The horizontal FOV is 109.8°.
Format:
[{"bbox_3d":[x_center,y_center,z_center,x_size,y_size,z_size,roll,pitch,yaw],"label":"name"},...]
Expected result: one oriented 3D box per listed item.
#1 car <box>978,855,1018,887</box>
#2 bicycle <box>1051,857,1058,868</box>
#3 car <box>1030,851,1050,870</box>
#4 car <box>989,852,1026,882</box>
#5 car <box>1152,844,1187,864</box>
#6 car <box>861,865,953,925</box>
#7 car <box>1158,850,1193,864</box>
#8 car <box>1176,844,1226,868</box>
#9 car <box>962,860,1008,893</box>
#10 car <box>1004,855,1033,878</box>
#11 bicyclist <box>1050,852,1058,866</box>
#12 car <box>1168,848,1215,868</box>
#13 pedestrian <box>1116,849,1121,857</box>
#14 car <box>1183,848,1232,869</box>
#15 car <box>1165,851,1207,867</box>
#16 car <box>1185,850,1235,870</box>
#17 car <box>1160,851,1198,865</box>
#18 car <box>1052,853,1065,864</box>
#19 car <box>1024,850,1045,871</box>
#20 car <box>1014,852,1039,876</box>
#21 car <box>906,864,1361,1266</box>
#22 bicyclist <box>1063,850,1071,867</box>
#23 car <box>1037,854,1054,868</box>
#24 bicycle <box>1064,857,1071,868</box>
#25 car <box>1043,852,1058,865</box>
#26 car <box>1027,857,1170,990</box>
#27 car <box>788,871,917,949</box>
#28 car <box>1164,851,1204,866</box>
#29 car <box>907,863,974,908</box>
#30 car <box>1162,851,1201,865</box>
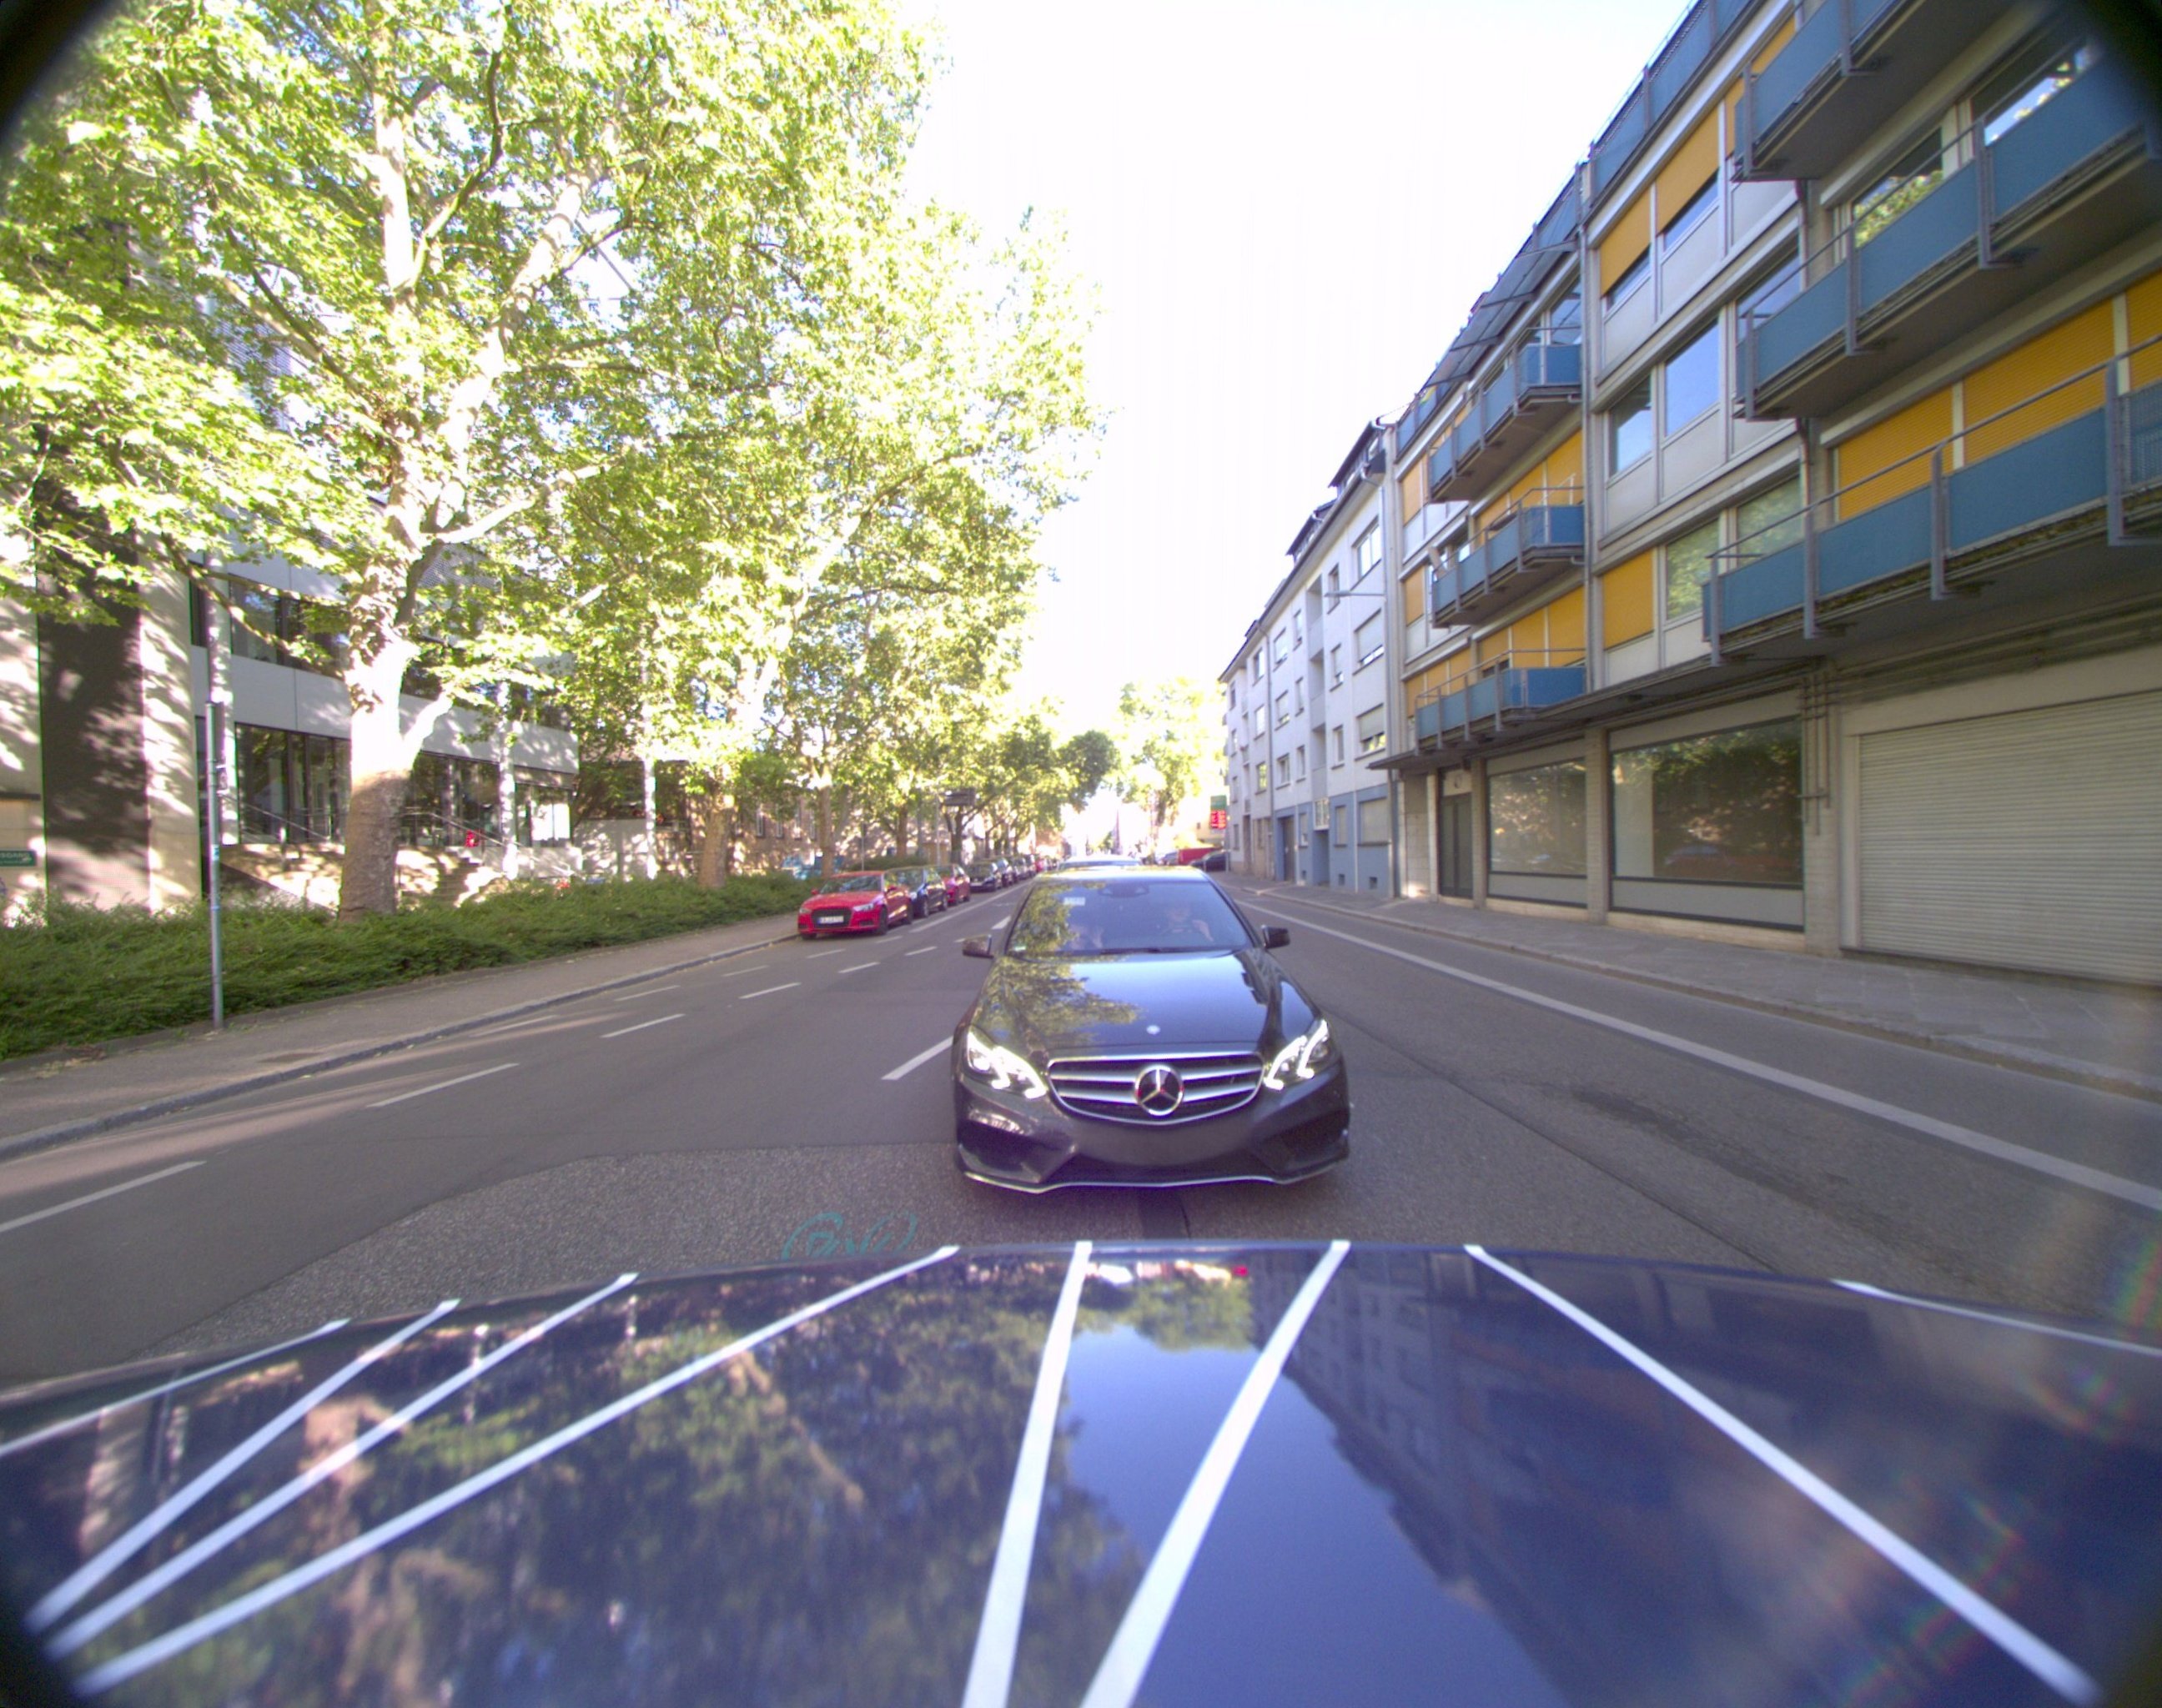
[{"bbox_3d":[-4.537,0.912,42.065,1.686,1.610,3.836,-2,0,0],"label":"car"},{"bbox_3d":[-2.748,0.898,78.986,0.667,1.093,1.814,-2,1,0],"label":"bicycle"},{"bbox_3d":[-4.099,0.641,76.019,1.686,1.749,3.836,-2,0,0],"label":"car"},{"bbox_3d":[-4.594,0.777,48.191,1.819,1.758,4.431,-2,0,0],"label":"car"},{"bbox_3d":[10.400,0.029,89.310,3.905,2.164,1.725,-2,1,2],"label":"car"},{"bbox_3d":[-5.012,1.132,22.420,1.686,1.458,4.000,-3,0,0],"label":"car"},{"bbox_3d":[10.540,0.337,84.817,3.782,1.432,1.539,-2,1,2],"label":"car"},{"bbox_3d":[10.074,0.169,63.981,3.905,1.895,1.749,-2,1,2],"label":"car"},{"bbox_3d":[-4.665,1.052,37.406,1.686,1.443,4.000,-2,0,0],"label":"car"},{"bbox_3d":[-4.426,0.880,54.514,1.686,1.552,3.868,-2,0,0],"label":"car"},{"bbox_3d":[-2.797,0.515,78.975,0.756,1.512,0.768,-2,1,-1],"label":"bicyclist"},{"bbox_3d":[9.715,0.334,66.776,3.905,1.577,1.603,-2,1,2],"label":"car"},{"bbox_3d":[9.938,-0.244,200.527,0.882,2.108,0.822,-1,1,32],"label":"pedestrian"},{"bbox_3d":[10.128,0.361,61.137,3.668,1.501,1.602,-2,1,2],"label":"car"},{"bbox_3d":[10.372,0.456,74.968,3.905,1.366,1.594,-2,1,2],"label":"car"},{"bbox_3d":[9.959,0.461,58.732,3.598,1.401,1.534,-2,0,2],"label":"car"},{"bbox_3d":[10.528,0.405,82.132,3.905,1.325,1.525,-2,1,2],"label":"car"},{"bbox_3d":[-3.130,0.656,106.830,1.686,1.475,3.836,-2,0,0],"label":"car"},{"bbox_3d":[-4.252,0.595,70.228,1.646,1.839,3.836,-2,0,0],"label":"car"},{"bbox_3d":[-4.218,0.758,59.371,1.663,1.704,3.836,-2,0,0],"label":"car"},{"bbox_3d":[0.213,0.899,5.285,1.828,1.495,4.293,-2,1,0],"label":"car"},{"bbox_3d":[-1.495,0.482,79.087,0.756,1.714,0.768,-2,1,-1],"label":"bicyclist"},{"bbox_3d":[-4.053,0.751,87.064,1.639,1.493,3.752,-2,0,0],"label":"car"},{"bbox_3d":[-1.438,0.908,79.072,0.667,1.093,1.814,-2,1,0],"label":"bicycle"},{"bbox_3d":[-3.792,0.604,95.687,1.686,1.546,3.836,-2,0,0],"label":"car"},{"bbox_3d":[0.206,0.884,11.660,1.732,1.538,4.293,-2,1,0],"label":"car"},{"bbox_3d":[-5.131,1.193,17.662,1.724,1.412,4.030,-4,0,-1],"label":"car"},{"bbox_3d":[10.403,0.432,76.989,3.905,1.366,1.594,-2,1,2],"label":"car"},{"bbox_3d":[-5.009,1.098,27.605,1.666,1.426,3.781,-2,0,0],"label":"car"},{"bbox_3d":[10.519,0.432,79.744,3.905,1.325,1.525,-2,1,2],"label":"car"}]
